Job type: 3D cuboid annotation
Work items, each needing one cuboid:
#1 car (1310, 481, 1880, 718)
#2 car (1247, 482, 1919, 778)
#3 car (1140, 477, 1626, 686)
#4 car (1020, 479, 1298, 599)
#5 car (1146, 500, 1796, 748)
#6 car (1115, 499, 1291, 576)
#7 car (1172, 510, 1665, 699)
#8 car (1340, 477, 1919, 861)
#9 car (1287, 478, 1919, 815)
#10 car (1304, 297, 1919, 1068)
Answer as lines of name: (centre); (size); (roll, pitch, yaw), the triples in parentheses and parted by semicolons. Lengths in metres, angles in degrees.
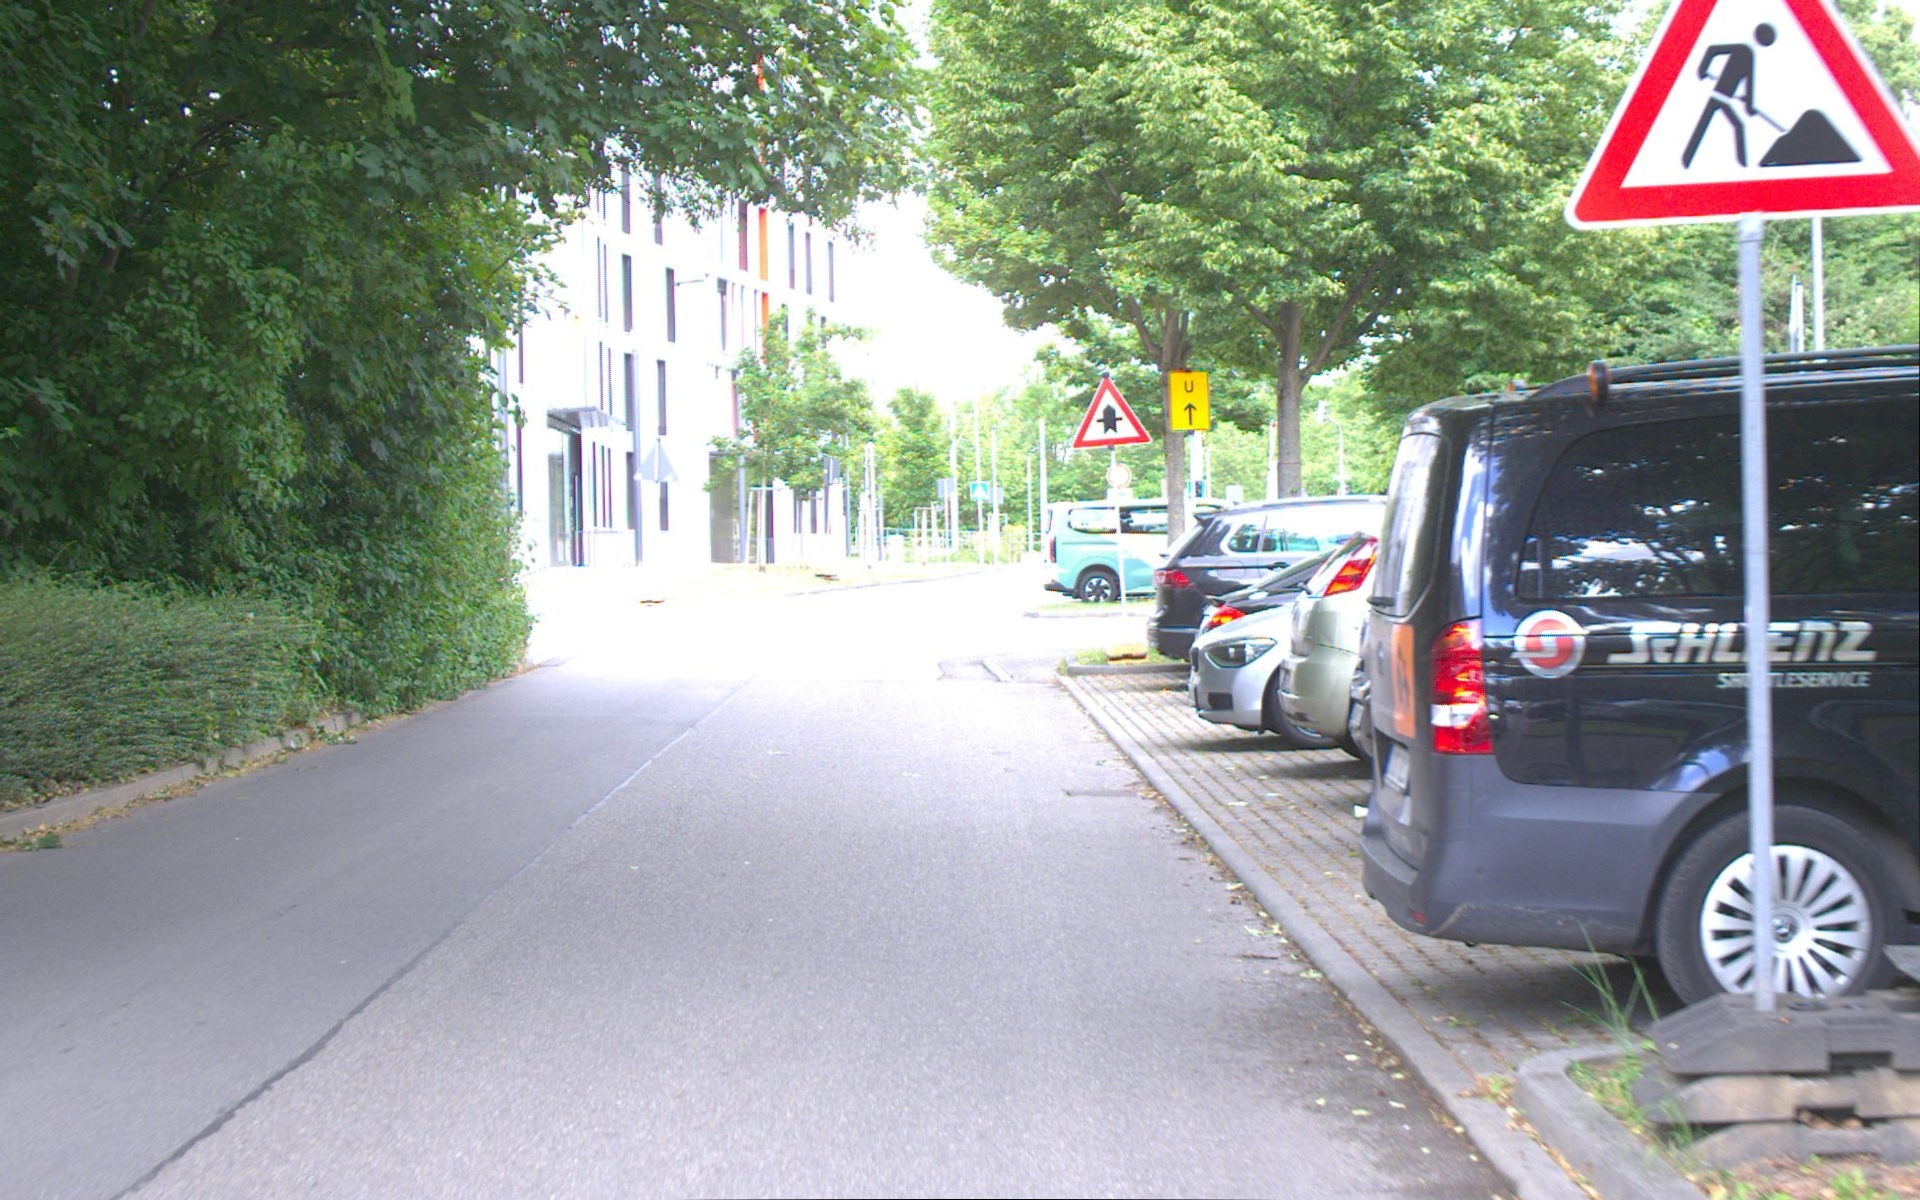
car: (4.644, -0.013, 25.556); (3.832, 1.553, 1.819); (-2, 0, -1)
car: (3.783, 0.155, 20.284); (3.987, 1.522, 1.811); (-2, 0, 0)
car: (3.714, -0.167, 30.776); (4.124, 1.644, 1.980); (-2, 0, 3)
car: (3.647, -1.126, 63.528); (4.972, 1.965, 1.847); (-2, 1, 1)
car: (3.321, 0.142, 22.945); (3.987, 1.425, 1.936); (-2, 0, -1)
car: (6.146, -1.584, 86.869); (4.379, 1.897, 1.936); (0, 1, 5)
car: (3.682, 0.029, 28.170); (3.832, 1.354, 1.822); (-2, 0, 3)
car: (3.810, 0.231, 15.443); (3.961, 1.506, 1.793); (-3, 1, 1)
car: (3.766, 0.187, 17.779); (3.961, 1.506, 1.763); (-3, 1, 2)
car: (3.654, 0.111, 10.322); (4.954, 2.007, 2.166); (-3, 1, 1)
